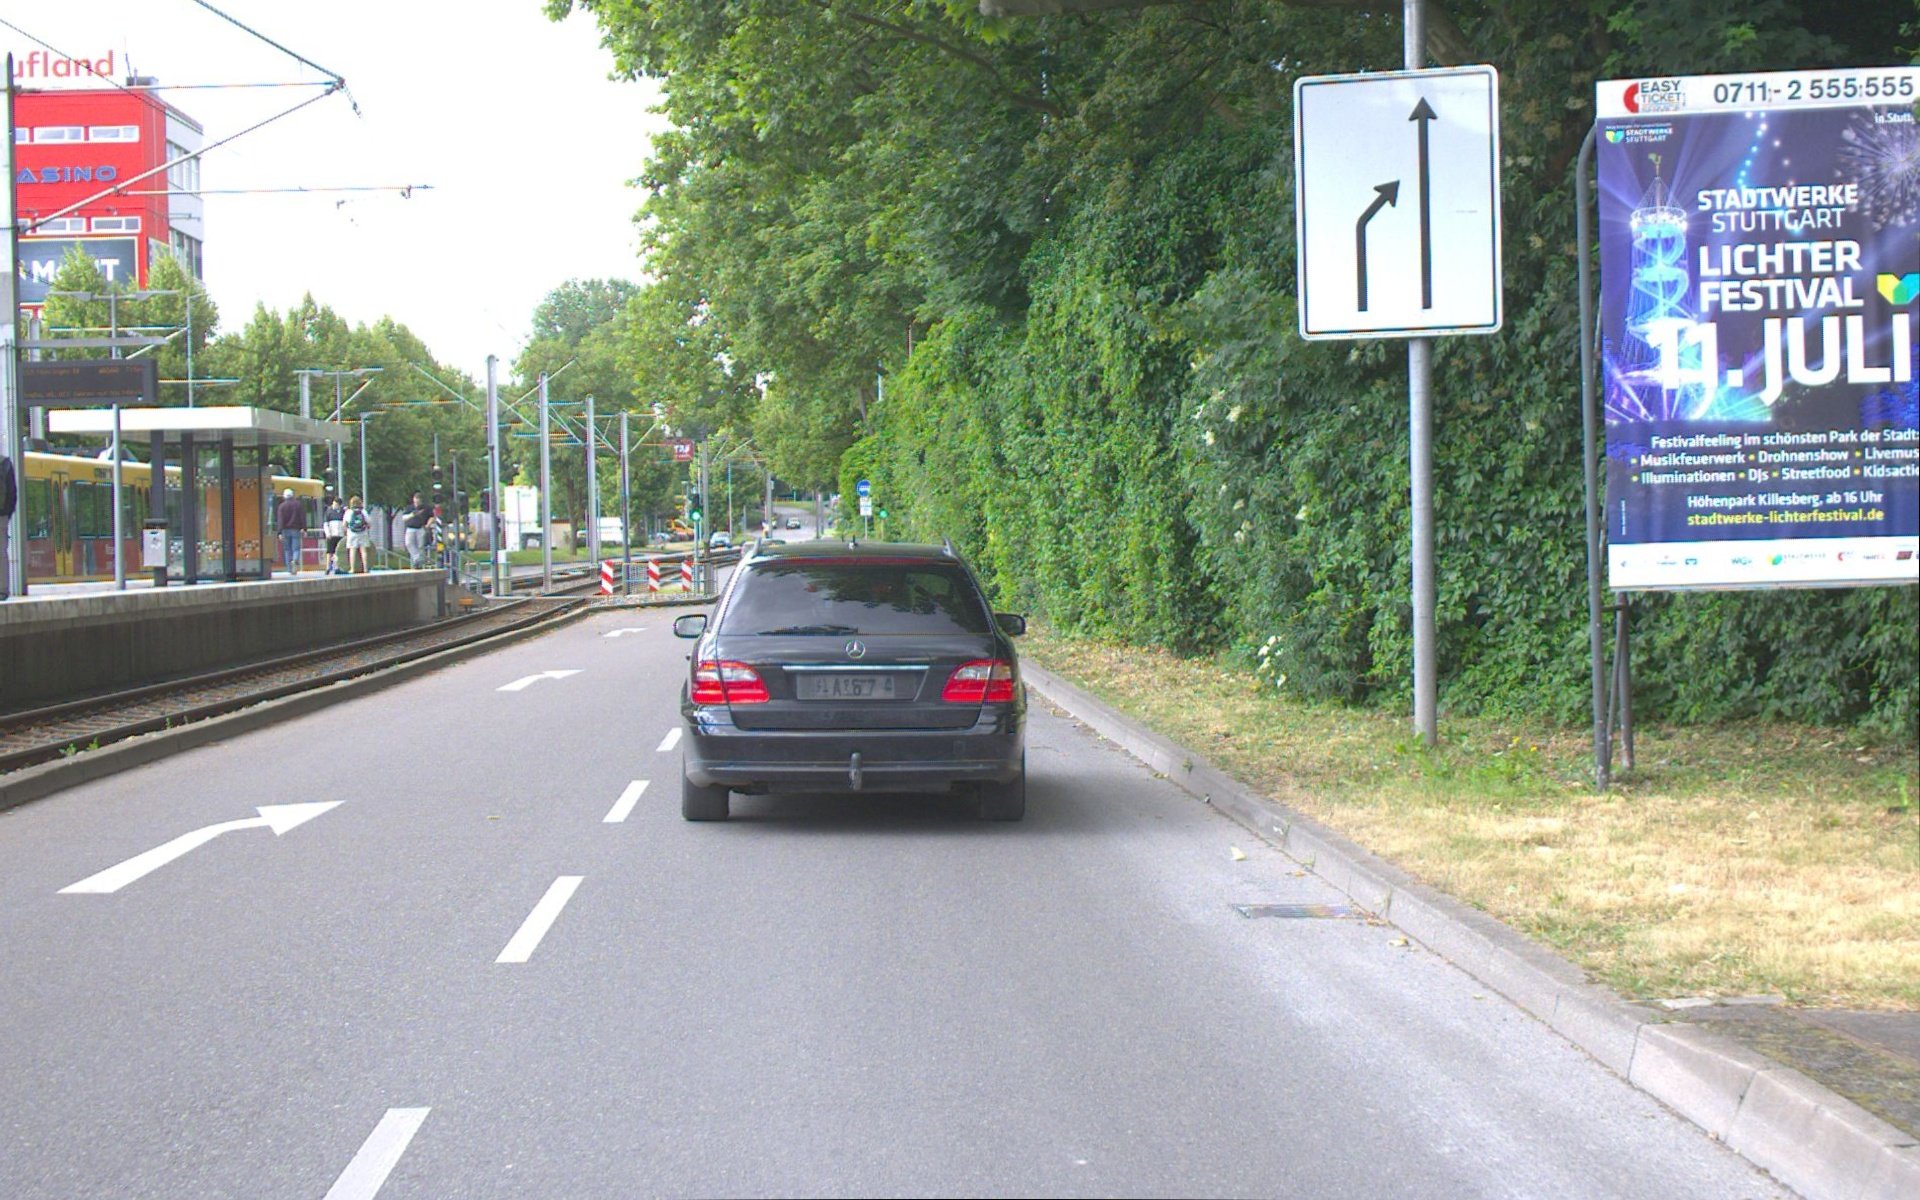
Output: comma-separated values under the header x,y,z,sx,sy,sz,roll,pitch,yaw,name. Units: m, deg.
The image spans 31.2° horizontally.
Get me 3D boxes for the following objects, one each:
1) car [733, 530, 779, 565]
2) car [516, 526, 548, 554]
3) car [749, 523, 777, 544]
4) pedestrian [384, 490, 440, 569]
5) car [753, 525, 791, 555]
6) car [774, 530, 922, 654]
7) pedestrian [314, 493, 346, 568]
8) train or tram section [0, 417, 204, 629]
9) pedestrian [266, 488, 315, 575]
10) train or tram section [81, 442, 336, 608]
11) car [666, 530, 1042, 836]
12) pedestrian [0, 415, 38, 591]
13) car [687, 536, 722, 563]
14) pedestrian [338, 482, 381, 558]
x,y,z,sx,sy,sz,roll,pitch,yaw,name
-9.117,-2.347,153.725,1.825,1.524,4.416,-1,1,-1,car
-31.874,-4.453,256.097,1.993,2.007,4.001,-2,1,-3,car
-14.062,-4.751,246.020,1.825,1.524,3.986,0,1,-1,car
-11.892,-1.527,74.615,0.745,1.672,0.874,-2,1,41,pedestrian
-9.695,-3.092,177.502,1.825,1.524,3.928,0,1,-1,car
-1.498,-0.141,44.578,1.825,1.524,4.416,0,1,-3,car
-12.660,-1.391,69.046,0.475,1.478,0.542,-2,1,0,pedestrian
-18.985,-1.541,70.813,2.756,3.869,18.633,-2,1,0,train or tram section
-13.235,-1.351,68.022,0.771,1.672,0.791,-2,1,-3,pedestrian
-19.204,-1.856,89.456,2.756,3.815,18.632,-1,1,-1,train or tram section
-0.627,0.363,19.087,1.833,1.473,4.416,-1,1,-3,car
-9.775,-0.954,34.513,0.748,1.738,0.937,-2,1,-2,pedestrian
-14.956,-2.960,201.578,1.825,1.524,3.928,0,1,-1,car
-11.897,-1.580,68.108,0.520,1.477,0.580,-2,1,36,pedestrian
